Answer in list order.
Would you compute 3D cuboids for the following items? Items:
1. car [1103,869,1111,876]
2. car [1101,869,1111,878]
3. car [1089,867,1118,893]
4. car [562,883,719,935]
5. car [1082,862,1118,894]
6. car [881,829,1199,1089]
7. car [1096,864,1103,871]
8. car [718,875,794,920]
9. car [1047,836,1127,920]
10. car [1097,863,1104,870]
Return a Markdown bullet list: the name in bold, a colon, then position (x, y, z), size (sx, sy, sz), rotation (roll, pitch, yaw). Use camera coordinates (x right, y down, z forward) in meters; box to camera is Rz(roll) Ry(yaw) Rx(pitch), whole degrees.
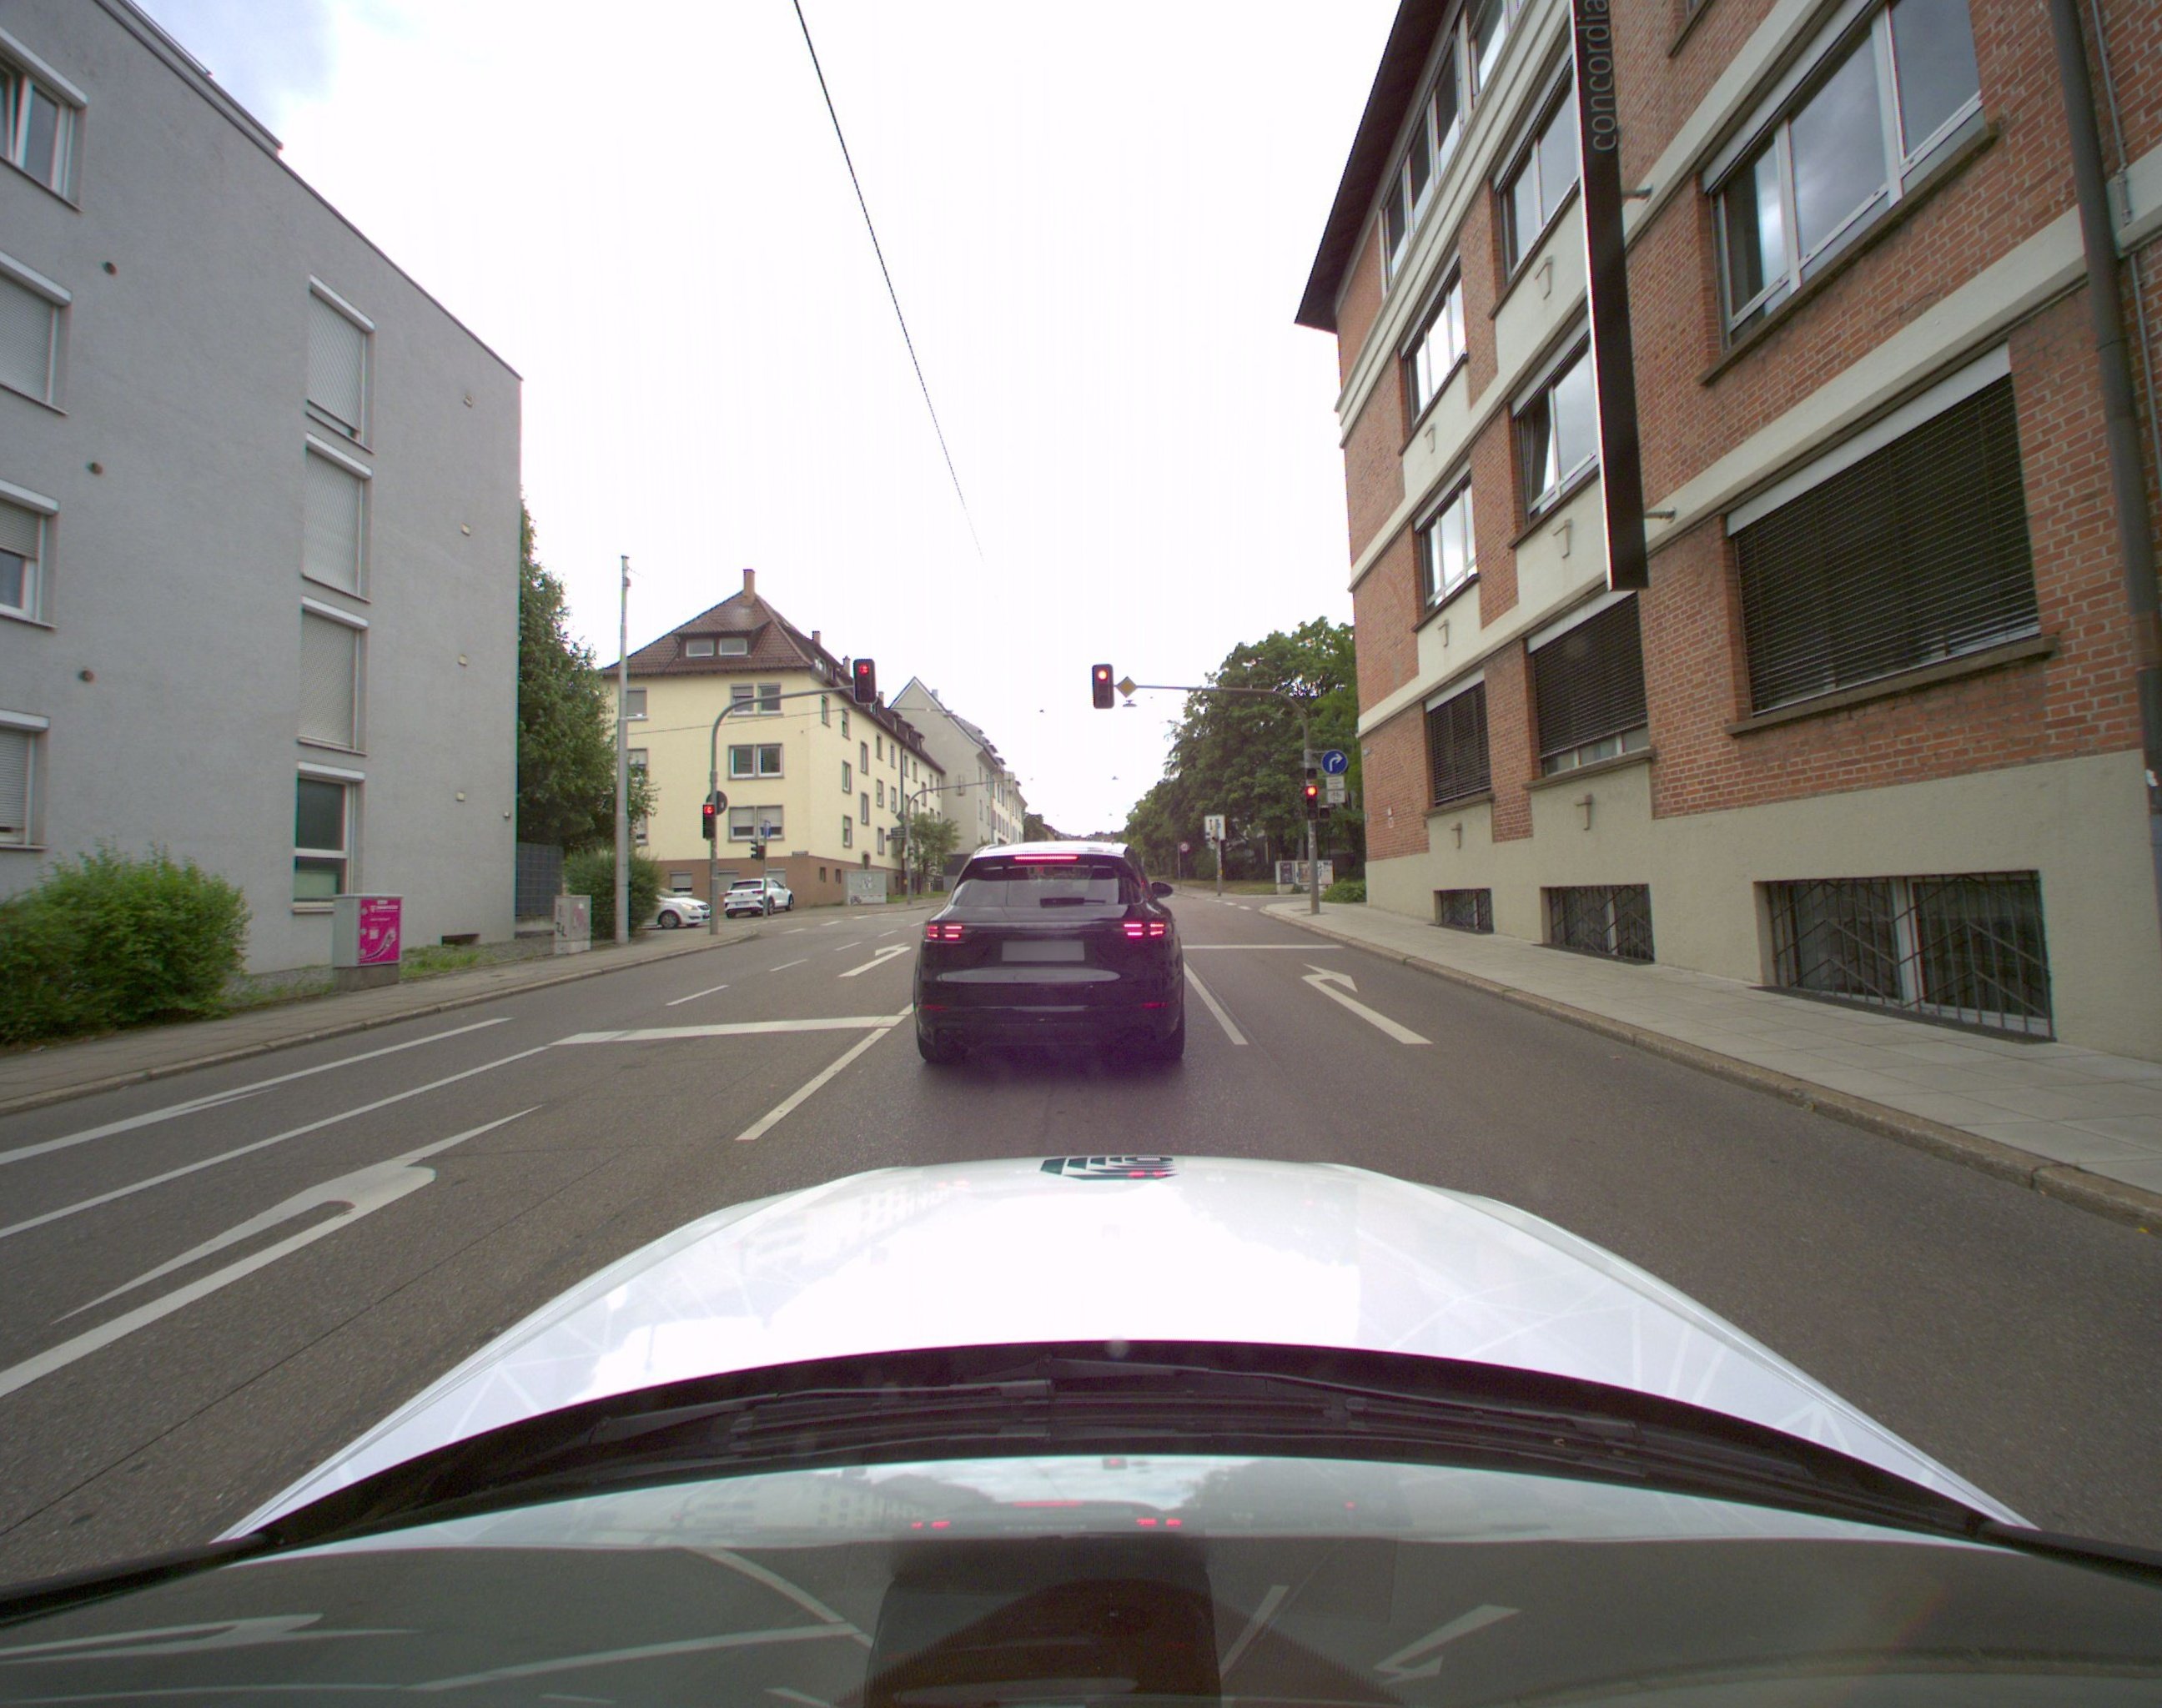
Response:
- **car**: position (5.846, 4.125, 182.541), size (1.820, 1.605, 4.137), rotation (0, 0, 2)
- **car**: position (5.012, 3.893, 163.374), size (1.820, 1.605, 4.137), rotation (0, 0, 2)
- **car**: position (1.464, 1.646, 52.647), size (1.820, 1.605, 3.860), rotation (0, 0, 2)
- **car**: position (-14.070, 1.734, 26.187), size (4.045, 1.392, 1.695), rotation (-2, -1, -2)
- **car**: position (1.051, 1.267, 43.939), size (1.820, 1.605, 4.137), rotation (0, 0, 2)
- **car**: position (-0.189, 0.681, 7.380), size (2.040, 1.666, 4.269), rotation (0, 0, 2)
- **car**: position (4.634, 3.290, 203.063), size (1.820, 1.605, 4.137), rotation (0, 0, 2)
- **car**: position (-13.534, 1.767, 34.182), size (1.686, 1.555, 3.763), rotation (-4, 0, -2)
- **car**: position (0.229, 0.596, 22.031), size (1.957, 2.042, 4.137), rotation (0, 0, 2)
- **car**: position (5.051, 3.265, 210.385), size (1.820, 1.605, 4.137), rotation (0, 0, 2)
